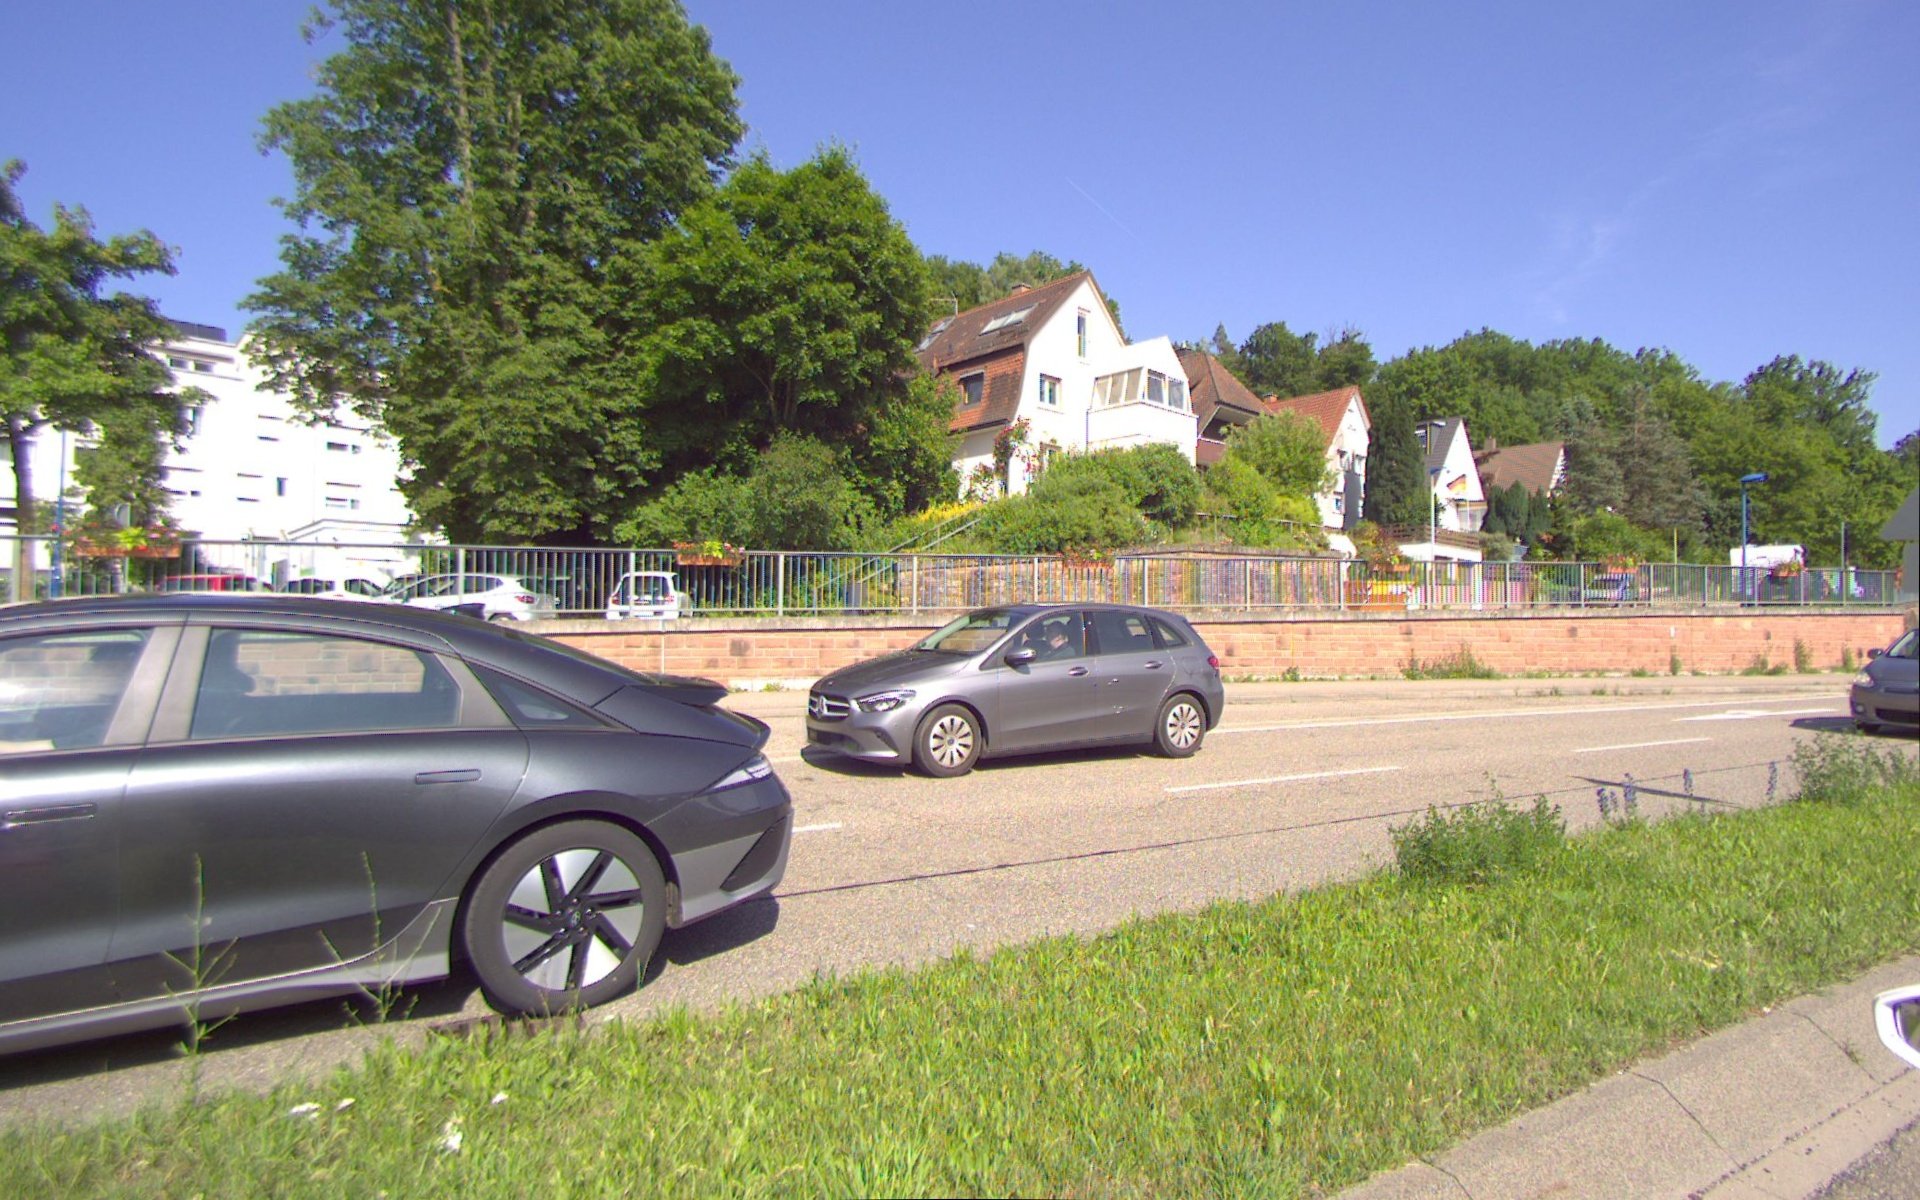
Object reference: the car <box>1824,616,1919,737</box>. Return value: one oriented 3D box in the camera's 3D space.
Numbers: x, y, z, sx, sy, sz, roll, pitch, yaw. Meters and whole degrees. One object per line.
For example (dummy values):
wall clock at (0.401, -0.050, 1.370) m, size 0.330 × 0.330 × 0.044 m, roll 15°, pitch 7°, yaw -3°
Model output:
car at (13.402, 0.990, 13.362) m, size 3.793 × 1.460 × 1.665 m, roll 1°, pitch 0°, yaw -29°

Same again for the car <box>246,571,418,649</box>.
car at (-15.047, 0.163, 24.348) m, size 1.877 × 1.724 × 3.996 m, roll 0°, pitch 2°, yaw -5°

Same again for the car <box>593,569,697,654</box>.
car at (-7.630, 0.213, 24.678) m, size 1.879 × 1.901 × 3.993 m, roll 0°, pitch 1°, yaw -9°

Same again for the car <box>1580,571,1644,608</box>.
car at (31.212, -0.472, 48.048) m, size 1.875 × 1.651 × 3.976 m, roll 0°, pitch -1°, yaw 44°

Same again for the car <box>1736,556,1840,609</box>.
car at (31.766, -0.670, 38.511) m, size 4.687 × 1.946 × 2.006 m, roll 0°, pitch 2°, yaw -37°

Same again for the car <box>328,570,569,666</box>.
car at (-10.360, 0.368, 20.605) m, size 3.922 × 1.813 × 1.921 m, roll 1°, pitch -1°, yaw -2°

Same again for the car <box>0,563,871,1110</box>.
car at (-2.803, 0.650, 3.674) m, size 4.665 × 1.490 × 1.781 m, roll 1°, pitch 0°, yaw -33°

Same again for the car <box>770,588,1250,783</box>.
car at (0.544, 0.722, 10.105) m, size 4.453 × 1.585 × 1.985 m, roll 1°, pitch 0°, yaw -28°

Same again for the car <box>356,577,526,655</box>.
car at (-12.189, 0.304, 23.925) m, size 1.961 × 1.694 × 3.999 m, roll 1°, pitch 1°, yaw 0°

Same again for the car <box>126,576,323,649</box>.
car at (-17.443, 0.235, 24.092) m, size 1.877 × 1.581 × 3.998 m, roll 1°, pitch 1°, yaw -2°
